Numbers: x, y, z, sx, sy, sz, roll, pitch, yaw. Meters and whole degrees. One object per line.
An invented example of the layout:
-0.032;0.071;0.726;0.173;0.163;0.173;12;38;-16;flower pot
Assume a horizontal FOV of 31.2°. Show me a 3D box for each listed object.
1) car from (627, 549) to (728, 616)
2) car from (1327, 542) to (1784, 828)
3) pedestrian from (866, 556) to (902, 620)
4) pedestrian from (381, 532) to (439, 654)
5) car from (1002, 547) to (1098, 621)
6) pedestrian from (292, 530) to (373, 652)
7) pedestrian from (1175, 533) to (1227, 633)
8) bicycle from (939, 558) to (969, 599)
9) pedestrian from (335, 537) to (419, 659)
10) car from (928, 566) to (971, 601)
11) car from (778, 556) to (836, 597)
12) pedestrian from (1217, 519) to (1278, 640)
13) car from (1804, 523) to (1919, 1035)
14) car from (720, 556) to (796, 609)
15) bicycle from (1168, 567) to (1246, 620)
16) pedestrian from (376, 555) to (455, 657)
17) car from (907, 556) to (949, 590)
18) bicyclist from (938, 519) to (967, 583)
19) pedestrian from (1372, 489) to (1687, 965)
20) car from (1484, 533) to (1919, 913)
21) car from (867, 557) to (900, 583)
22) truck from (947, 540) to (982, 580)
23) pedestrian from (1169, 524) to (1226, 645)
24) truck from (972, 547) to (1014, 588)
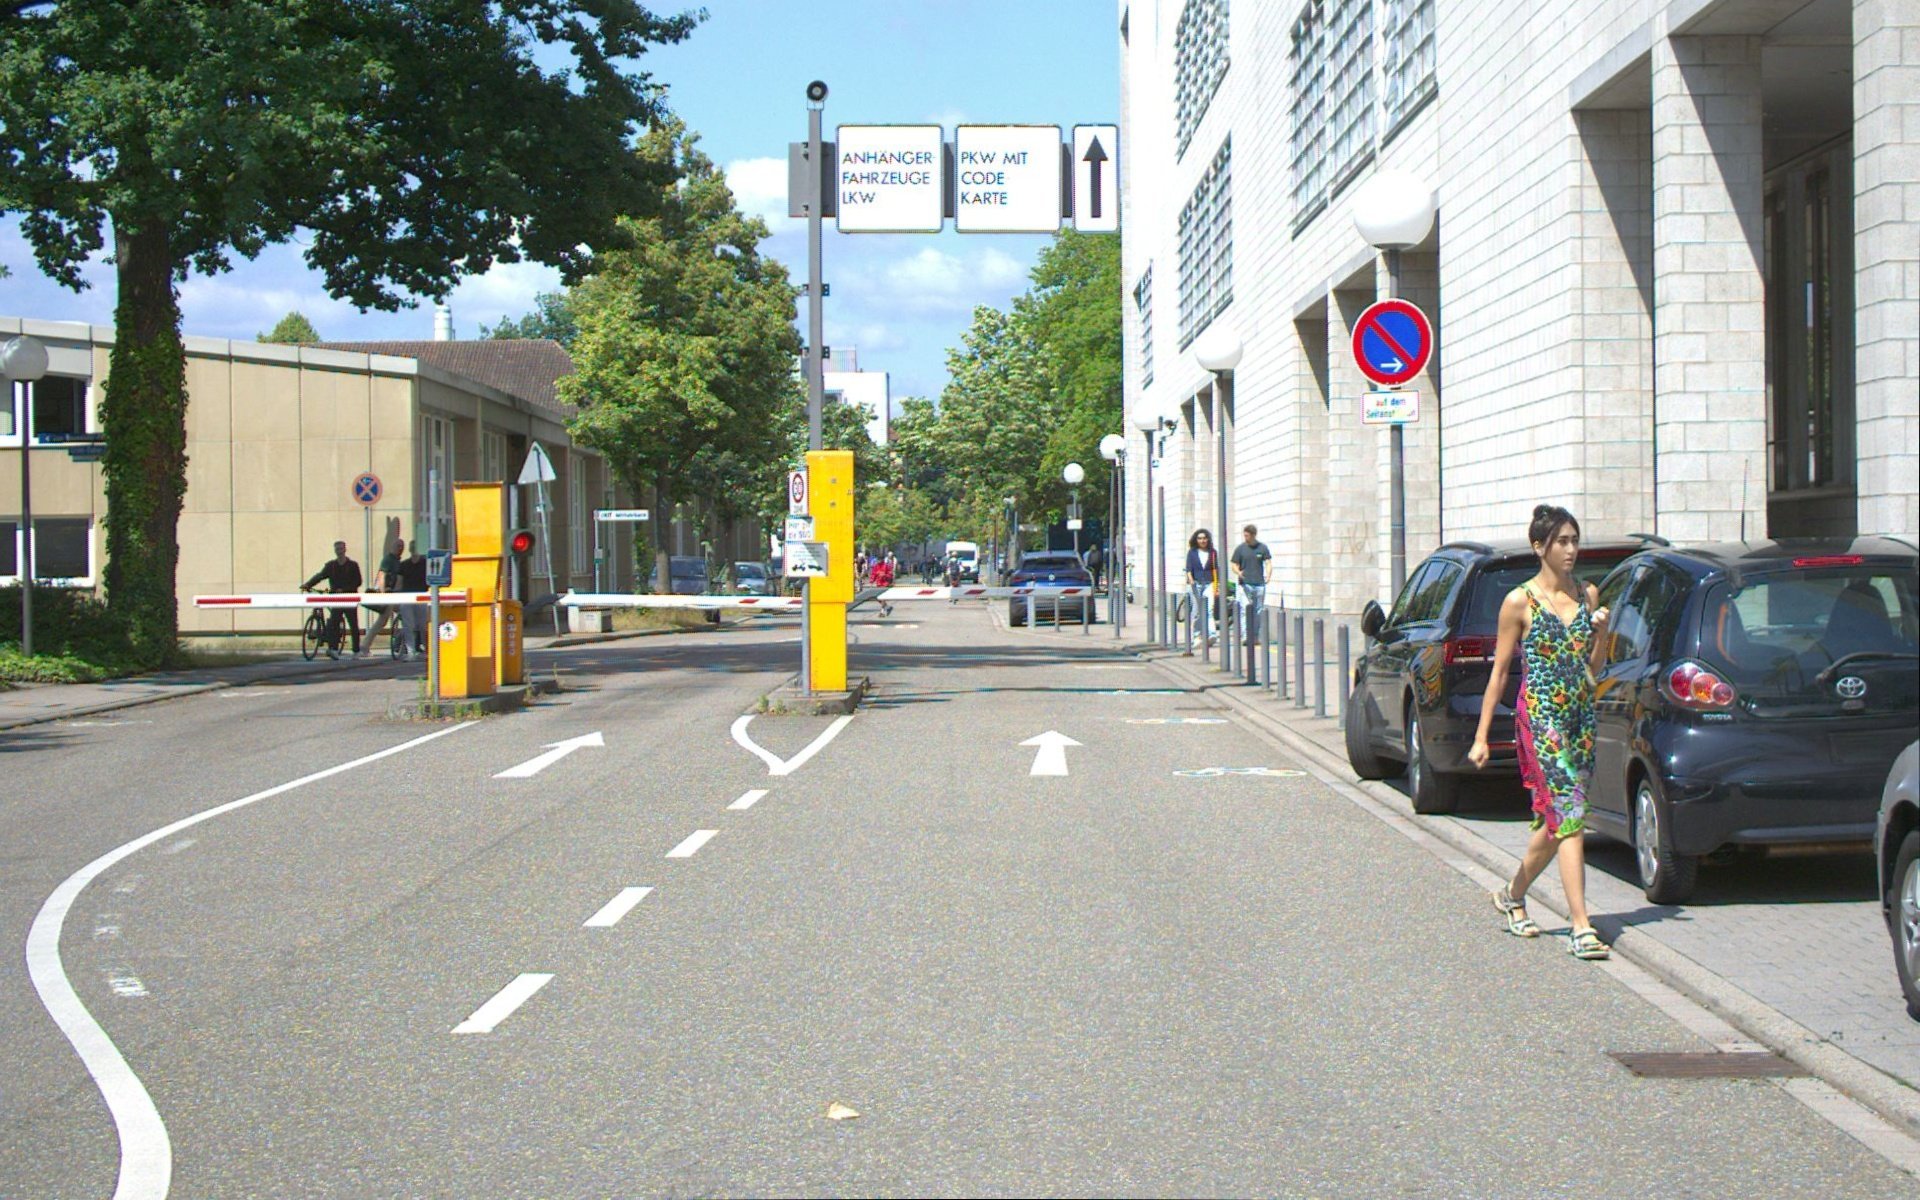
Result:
-6.686;-0.425;81.729;1.993;1.540;4.212;0;1;1;car
3.316;0.412;20.001;1.866;1.459;4.520;0;1;0;car
-1.953;-0.309;87.677;0.894;1.627;0.888;0;0;-3;pedestrian
-8.256;-0.119;51.611;0.705;1.803;1.001;-1;1;-1;pedestrian
1.910;-0.367;74.417;1.993;1.540;4.212;-1;1;1;car
-9.466;-0.146;51.868;1.056;1.809;0.806;-1;1;-1;pedestrian
4.018;-0.284;57.357;0.741;1.627;0.888;-2;1;-1;pedestrian
-0.213;-0.729;117.050;0.987;1.311;2.964;-1;-1;0;bicycle
-9.275;-0.034;54.717;0.886;1.919;1.004;0;0;29;pedestrian
-0.542;-0.833;177.207;1.994;1.714;3.999;-1;-1;3;car
-5.840;-0.929;131.811;1.993;1.540;4.212;0;1;1;car
4.337;-0.316;51.869;0.767;1.774;0.910;-2;1;-1;pedestrian
3.756;0.520;8.990;1.719;1.524;4.567;-2;1;-3;car
-6.071;-0.537;103.675;1.993;1.540;4.212;0;1;1;car
5.130;-0.134;71.304;1.544;1.063;0.647;-1;1;8;bicycle
-8.812;0.095;55.641;0.886;1.627;0.895;0;0;29;pedestrian
-1.723;-1.432;185.333;1.994;1.714;3.999;-1;-1;3;car
-0.262;-1.673;117.536;0.987;2.125;1.036;-1;-1;0;bicyclist
2.139;0.451;12.987;0.623;1.711;1.040;-1;1;-32;pedestrian
3.524;0.458;15.530;1.614;1.491;4.007;0;1;-1;car
-5.243;-2.052;236.305;1.994;1.714;3.999;-1;-1;3;car
0.272;-2.446;209.639;1.993;2.263;4.616;-1;-1;-1;truck
3.574;-0.245;51.813;0.694;1.774;1.086;-2;1;-1;pedestrian
1.709;-1.672;179.264;1.993;2.007;4.000;-1;-1;-1;truck
